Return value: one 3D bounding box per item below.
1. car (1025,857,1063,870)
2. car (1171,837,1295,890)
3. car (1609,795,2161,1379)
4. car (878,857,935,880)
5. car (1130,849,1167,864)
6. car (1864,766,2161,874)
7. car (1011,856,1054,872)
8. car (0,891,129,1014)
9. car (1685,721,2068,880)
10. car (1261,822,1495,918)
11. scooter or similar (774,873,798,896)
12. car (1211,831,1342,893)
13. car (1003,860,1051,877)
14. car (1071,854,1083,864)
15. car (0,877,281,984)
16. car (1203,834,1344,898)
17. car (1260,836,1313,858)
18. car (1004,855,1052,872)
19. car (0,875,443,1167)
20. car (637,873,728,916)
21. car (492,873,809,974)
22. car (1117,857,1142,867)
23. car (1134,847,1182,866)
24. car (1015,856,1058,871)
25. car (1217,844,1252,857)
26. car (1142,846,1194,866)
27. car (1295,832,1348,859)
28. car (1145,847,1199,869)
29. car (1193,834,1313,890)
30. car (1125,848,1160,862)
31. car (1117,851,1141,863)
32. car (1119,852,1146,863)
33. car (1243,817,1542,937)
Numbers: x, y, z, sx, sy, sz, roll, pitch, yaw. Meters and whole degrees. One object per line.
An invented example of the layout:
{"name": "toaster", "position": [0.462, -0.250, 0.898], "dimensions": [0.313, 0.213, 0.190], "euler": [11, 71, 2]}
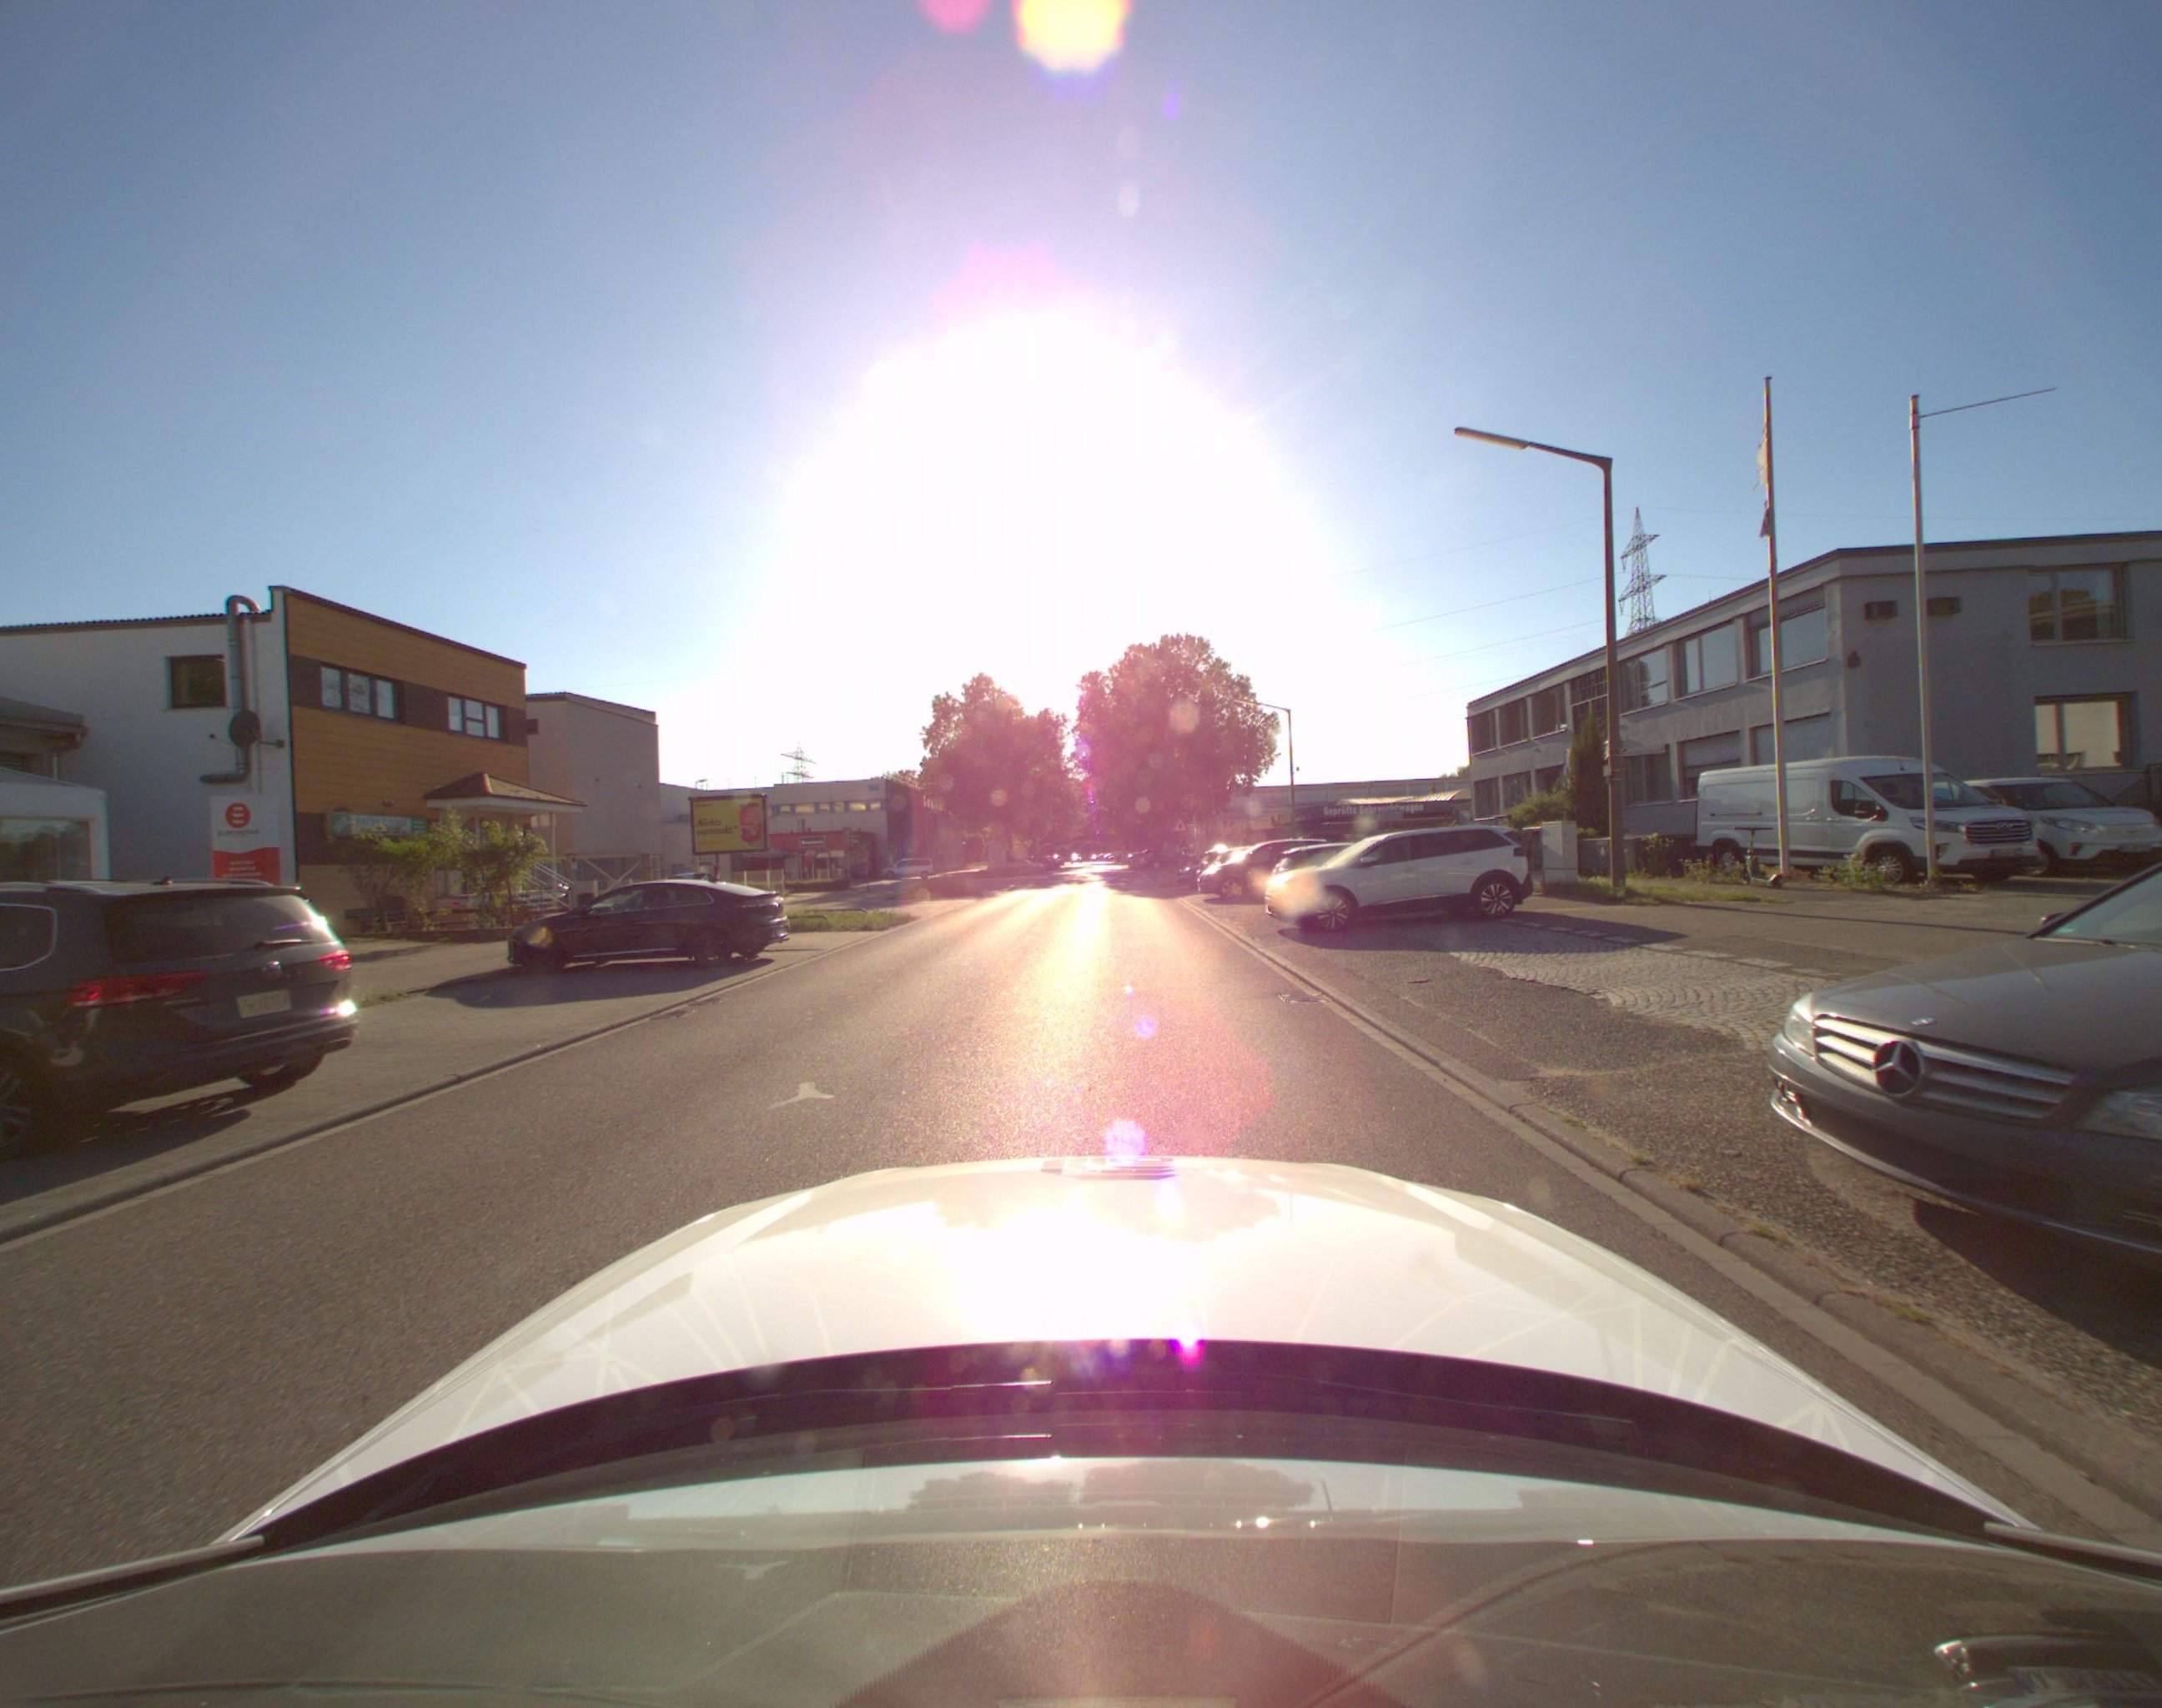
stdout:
{"name": "car", "position": [-4.512, 1.153, 99.235], "dimensions": [4.397, 1.517, 2.002], "euler": [-2, 0, 3]}
{"name": "car", "position": [6.068, 0.362, 32.833], "dimensions": [4.512, 1.672, 1.752], "euler": [-5, 0, -2]}
{"name": "car", "position": [4.964, 0.463, 3.128], "dimensions": [4.422, 1.436, 2.136], "euler": [-5, 0, 0]}
{"name": "car", "position": [-14.827, 1.218, 69.279], "dimensions": [4.637, 1.741, 1.990], "euler": [-2, 0, -15]}
{"name": "car", "position": [7.591, 0.312, 91.410], "dimensions": [3.972, 1.415, 1.827], "euler": [-3, 0, 1]}
{"name": "car", "position": [18.162, -0.590, 15.878], "dimensions": [1.986, 1.799, 4.001], "euler": [-2, 0, 2]}
{"name": "car", "position": [-5.037, 1.007, 85.243], "dimensions": [4.404, 1.517, 1.998], "euler": [-2, 0, -2]}
{"name": "car", "position": [-16.238, 1.383, 11.180], "dimensions": [3.972, 1.555, 2.001], "euler": [-2, 0, 1]}
{"name": "car", "position": [15.695, -0.902, 16.815], "dimensions": [1.986, 2.625, 6.139], "euler": [-2, 0, 2]}
{"name": "car", "position": [6.257, 0.327, 17.532], "dimensions": [4.234, 1.623, 1.921], "euler": [-5, 0, 0]}
{"name": "scooter or similar", "position": [-15.506, 1.601, 42.801], "dimensions": [0.629, 1.200, 1.372], "euler": [-1, -1, -45]}
{"name": "car", "position": [6.651, 0.276, 28.045], "dimensions": [3.972, 1.652, 1.802], "euler": [-6, 0, 2]}
{"name": "car", "position": [-4.997, 1.336, 75.676], "dimensions": [4.406, 1.403, 1.997], "euler": [-2, 0, -4]}
{"name": "car", "position": [-0.664, 0.851, 141.932], "dimensions": [1.986, 1.608, 4.001], "euler": [-1, 0, 2]}
{"name": "car", "position": [-16.299, 1.243, 13.653], "dimensions": [3.896, 1.555, 1.888], "euler": [-2, 0, 1]}
{"name": "car", "position": [5.803, 0.364, 24.978], "dimensions": [3.964, 1.613, 2.005], "euler": [-4, -1, 8]}
{"name": "car", "position": [17.263, -0.597, 68.617], "dimensions": [3.974, 1.700, 2.000], "euler": [-2, 0, 0]}
{"name": "car", "position": [-5.039, 0.905, 78.001], "dimensions": [4.401, 1.517, 2.000], "euler": [-2, 0, 0]}
{"name": "car", "position": [-7.624, 1.062, 5.876], "dimensions": [4.219, 1.655, 2.201], "euler": [-2, 0, -2]}
{"name": "car", "position": [-18.640, 1.850, 38.319], "dimensions": [1.986, 1.576, 4.343], "euler": [-2, 2, 2]}
{"name": "car", "position": [-7.273, 1.137, 14.191], "dimensions": [4.301, 1.460, 2.201], "euler": [-2, 0, -2]}
{"name": "car", "position": [8.200, 1.345, 138.072], "dimensions": [3.972, 1.415, 1.827], "euler": [-3, 0, 1]}
{"name": "car", "position": [6.638, 0.235, 70.537], "dimensions": [3.972, 1.415, 1.827], "euler": [-3, 0, 1]}
{"name": "car", "position": [-4.785, 1.021, 88.386], "dimensions": [4.397, 1.517, 2.002], "euler": [-2, 0, 3]}
{"name": "car", "position": [18.804, -0.415, 99.788], "dimensions": [3.974, 1.546, 2.000], "euler": [-2, 0, 0]}
{"name": "car", "position": [6.969, 0.167, 65.476], "dimensions": [3.972, 1.415, 2.001], "euler": [-3, 0, 1]}
{"name": "car", "position": [17.464, -0.587, 59.119], "dimensions": [1.915, 1.770, 4.023], "euler": [-5, -4, 45]}
{"name": "car", "position": [7.030, 0.297, 63.183], "dimensions": [3.972, 1.415, 2.001], "euler": [-3, 0, 1]}
{"name": "car", "position": [6.340, 0.287, 30.273], "dimensions": [3.976, 1.652, 1.742], "euler": [-6, 0, -1]}
{"name": "car", "position": [7.308, 0.146, 97.399], "dimensions": [3.972, 1.381, 1.827], "euler": [-3, 0, 1]}
{"name": "car", "position": [8.309, 0.487, 142.026], "dimensions": [3.972, 1.776, 1.827], "euler": [-3, 0, 1]}
{"name": "car", "position": [7.940, 0.537, 126.016], "dimensions": [3.972, 1.415, 1.827], "euler": [-3, 0, 1]}
{"name": "car", "position": [5.534, 0.395, 14.962], "dimensions": [4.542, 1.597, 2.201], "euler": [-6, 0, -2]}
